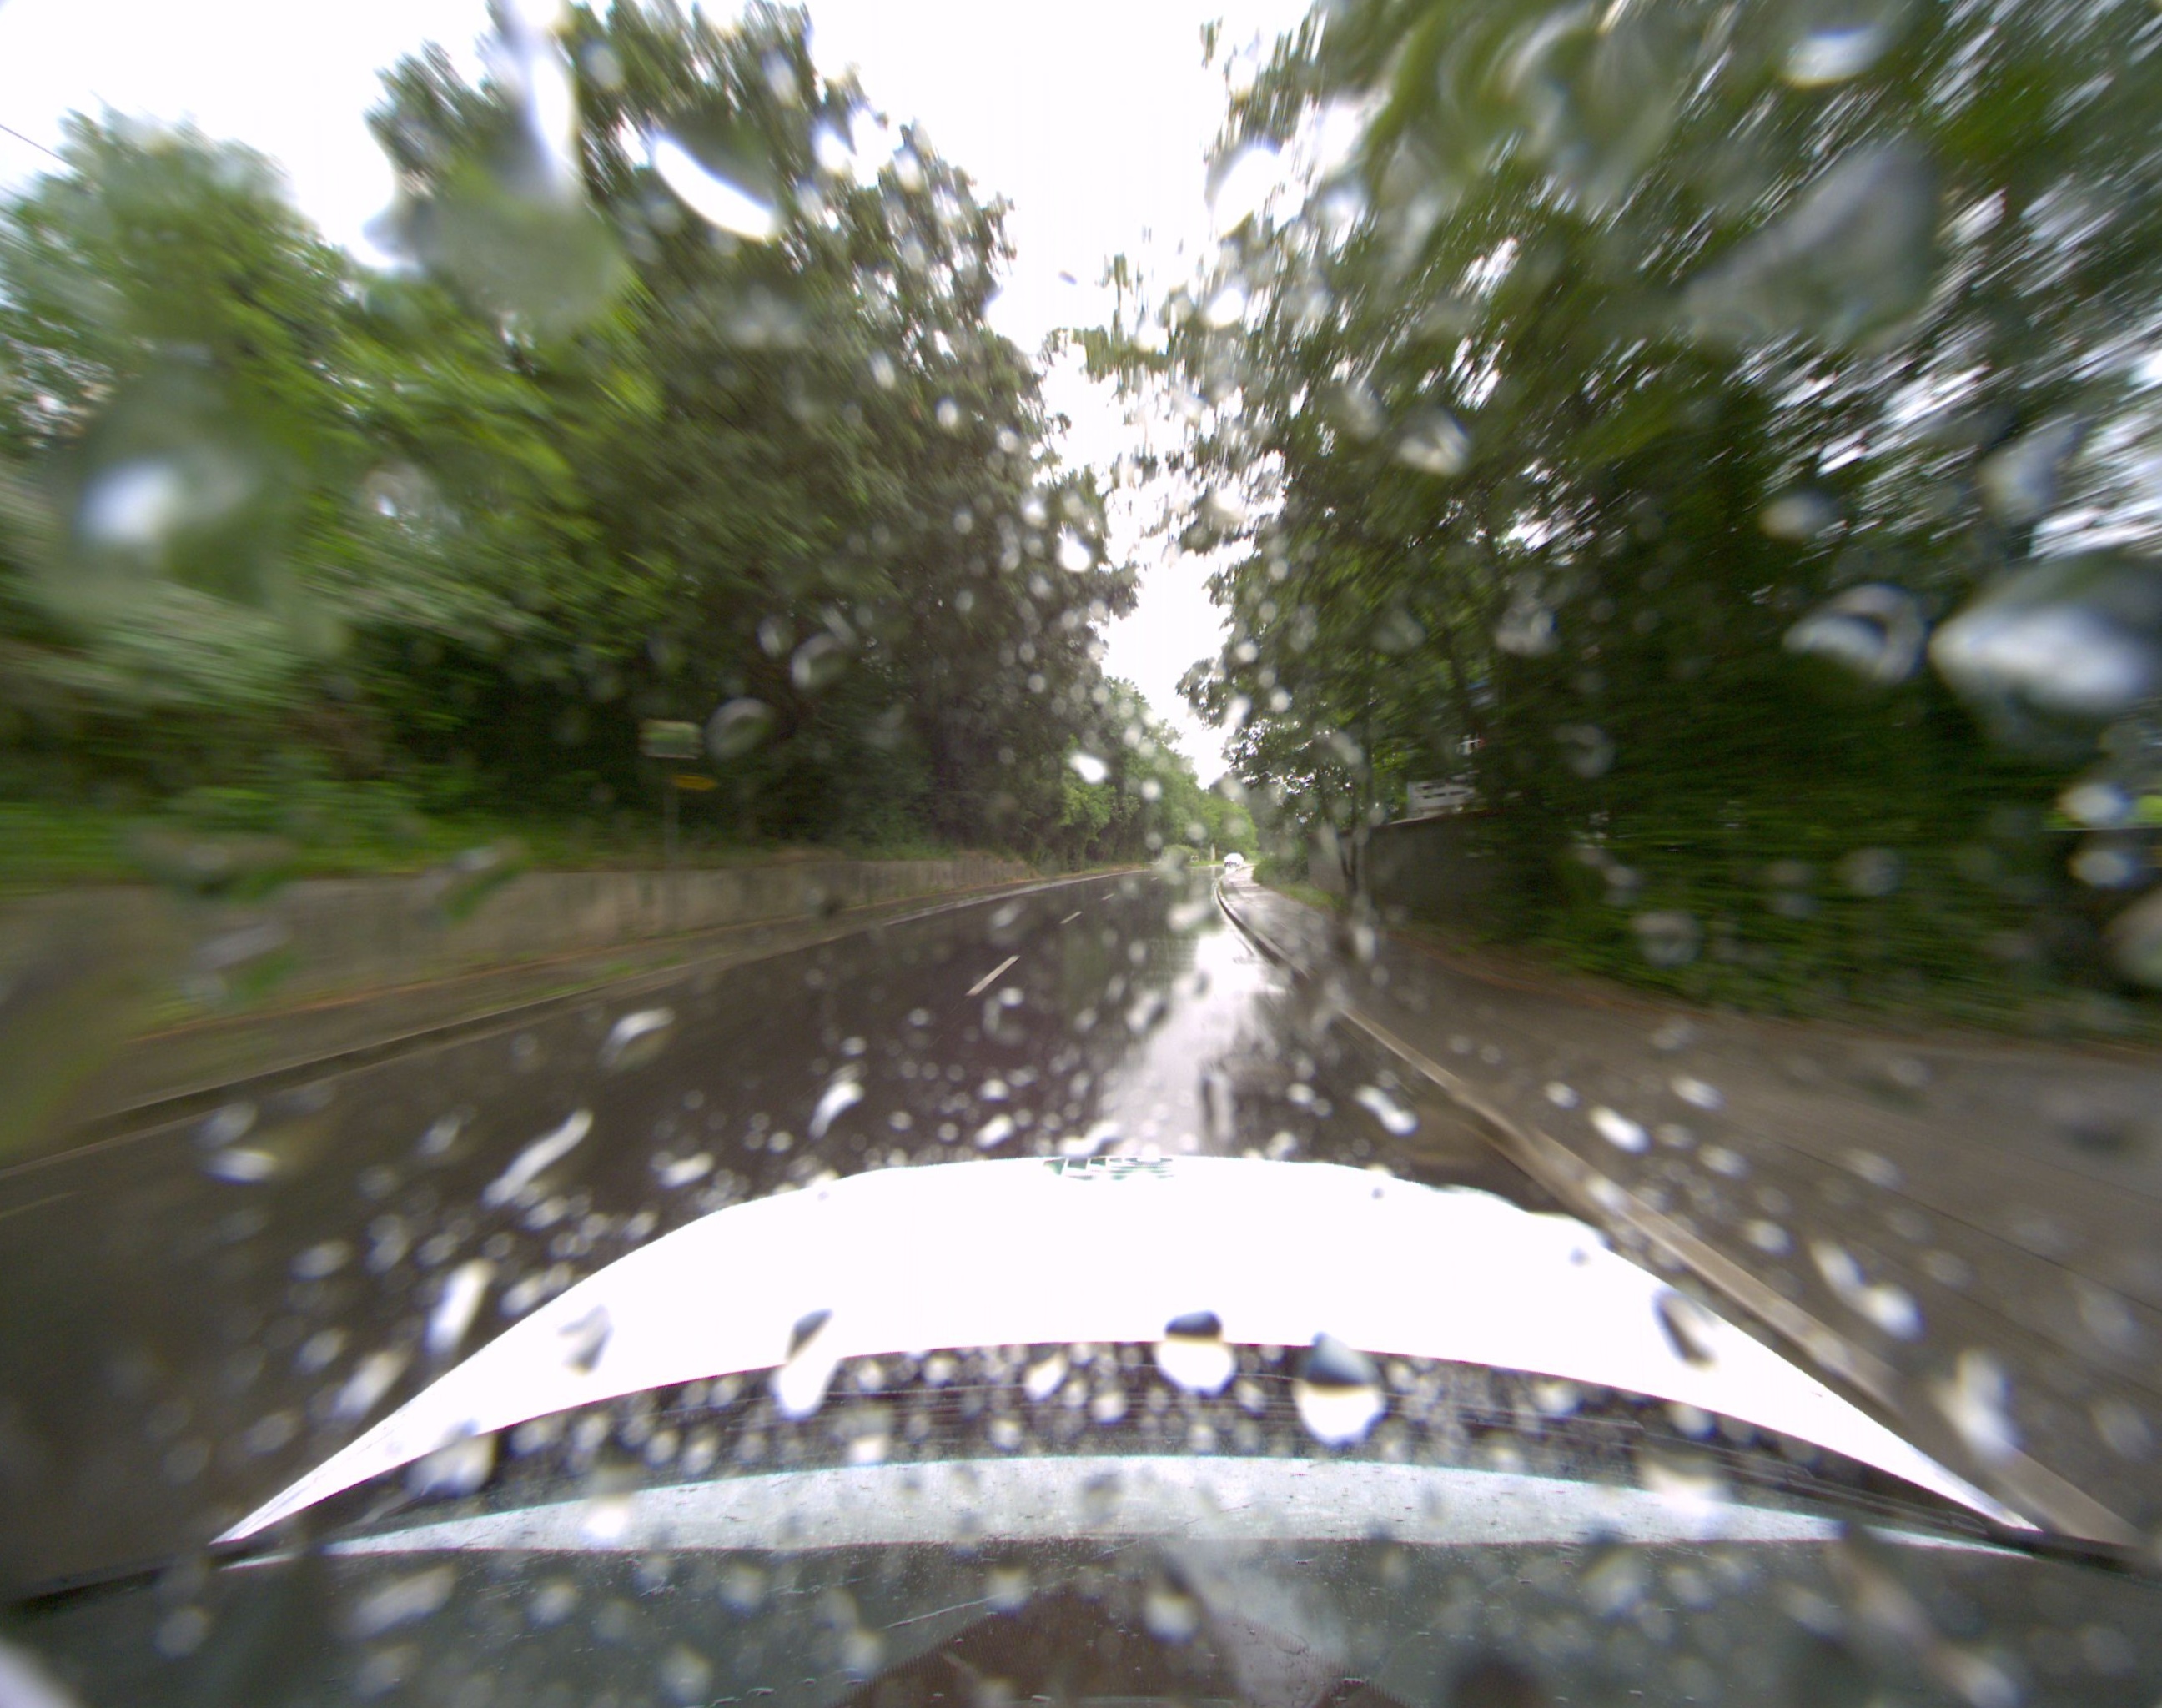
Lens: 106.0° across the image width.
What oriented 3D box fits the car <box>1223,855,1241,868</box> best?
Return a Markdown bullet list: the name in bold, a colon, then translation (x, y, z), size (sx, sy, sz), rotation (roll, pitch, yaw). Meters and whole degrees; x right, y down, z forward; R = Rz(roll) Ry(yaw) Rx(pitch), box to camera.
- **car**: translation (18.102, 0.861, 97.443), size (1.773, 1.419, 4.653), rotation (-1, 0, 15)
